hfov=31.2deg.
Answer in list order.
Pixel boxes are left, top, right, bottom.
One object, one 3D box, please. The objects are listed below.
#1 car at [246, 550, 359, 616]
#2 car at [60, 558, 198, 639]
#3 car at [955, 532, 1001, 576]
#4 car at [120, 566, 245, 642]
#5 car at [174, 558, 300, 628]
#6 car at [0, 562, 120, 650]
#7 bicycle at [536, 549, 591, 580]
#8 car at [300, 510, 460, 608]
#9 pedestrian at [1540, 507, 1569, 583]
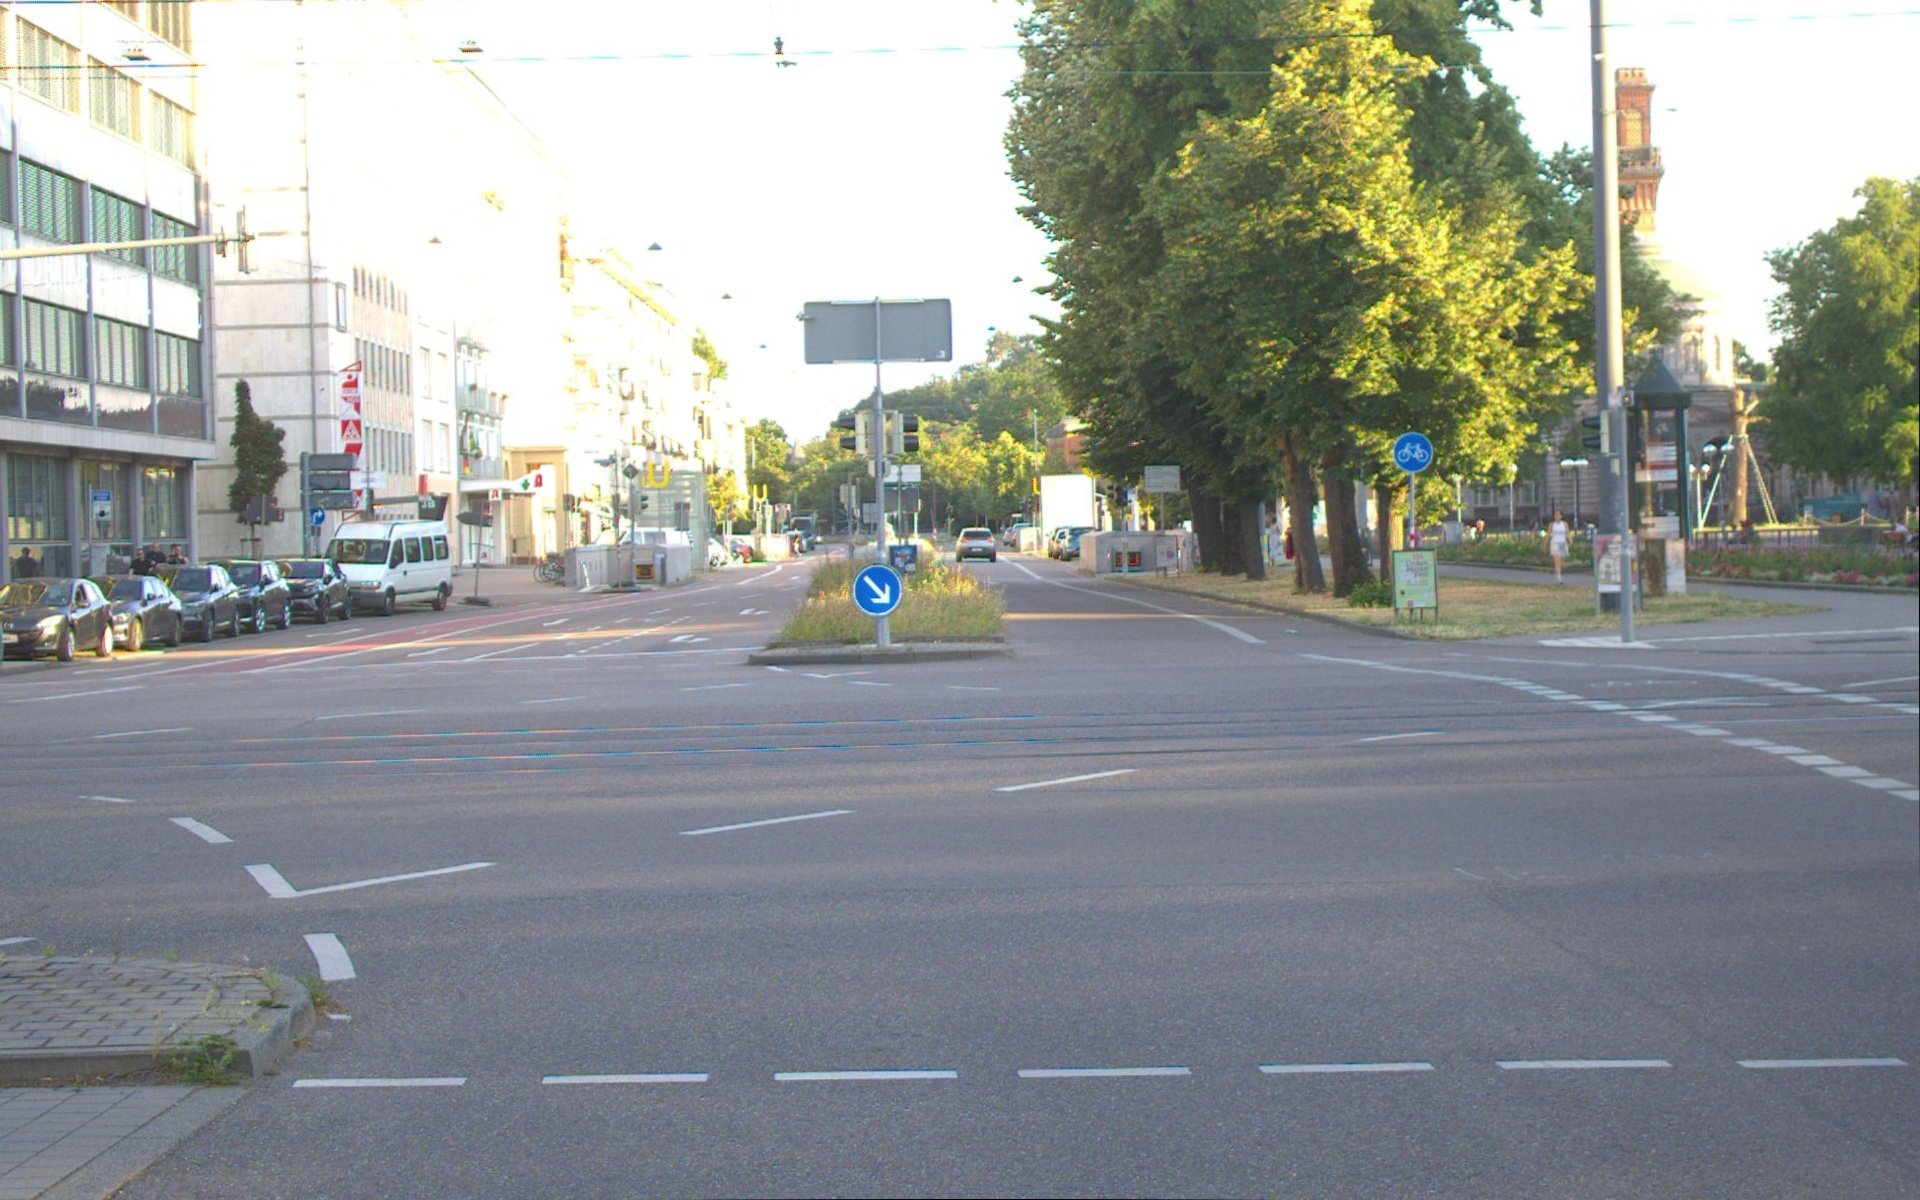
[{"bbox_3d":[-16.198,-0.399,84.876,1.796,1.470,3.999,-2,-1,3],"label":"car"},{"bbox_3d":[-16.485,-0.006,68.366,1.796,1.470,4.000,-1,-1,-1],"label":"car"},{"bbox_3d":[0.827,-2.193,162.641,1.993,2.007,4.000,-2,1,-1],"label":"car"},{"bbox_3d":[-16.537,0.109,73.268,1.796,1.470,4.000,-1,-1,-1],"label":"car"},{"bbox_3d":[-16.471,-0.132,78.478,1.796,1.470,3.999,-2,-1,3],"label":"car"},{"bbox_3d":[-16.494,0.134,61.921,1.796,1.470,4.000,-1,-1,-1],"label":"car"},{"bbox_3d":[-14.852,-1.339,128.766,1.995,1.089,0.325,-2,1,-9],"label":"bicycle"},{"bbox_3d":[-15.369,-1.048,91.463,2.177,2.377,5.986,-2,-1,11],"label":"car"},{"bbox_3d":[13.064,-1.210,75.545,0.508,1.663,0.531,-1,1,-1],"label":"pedestrian"}]
